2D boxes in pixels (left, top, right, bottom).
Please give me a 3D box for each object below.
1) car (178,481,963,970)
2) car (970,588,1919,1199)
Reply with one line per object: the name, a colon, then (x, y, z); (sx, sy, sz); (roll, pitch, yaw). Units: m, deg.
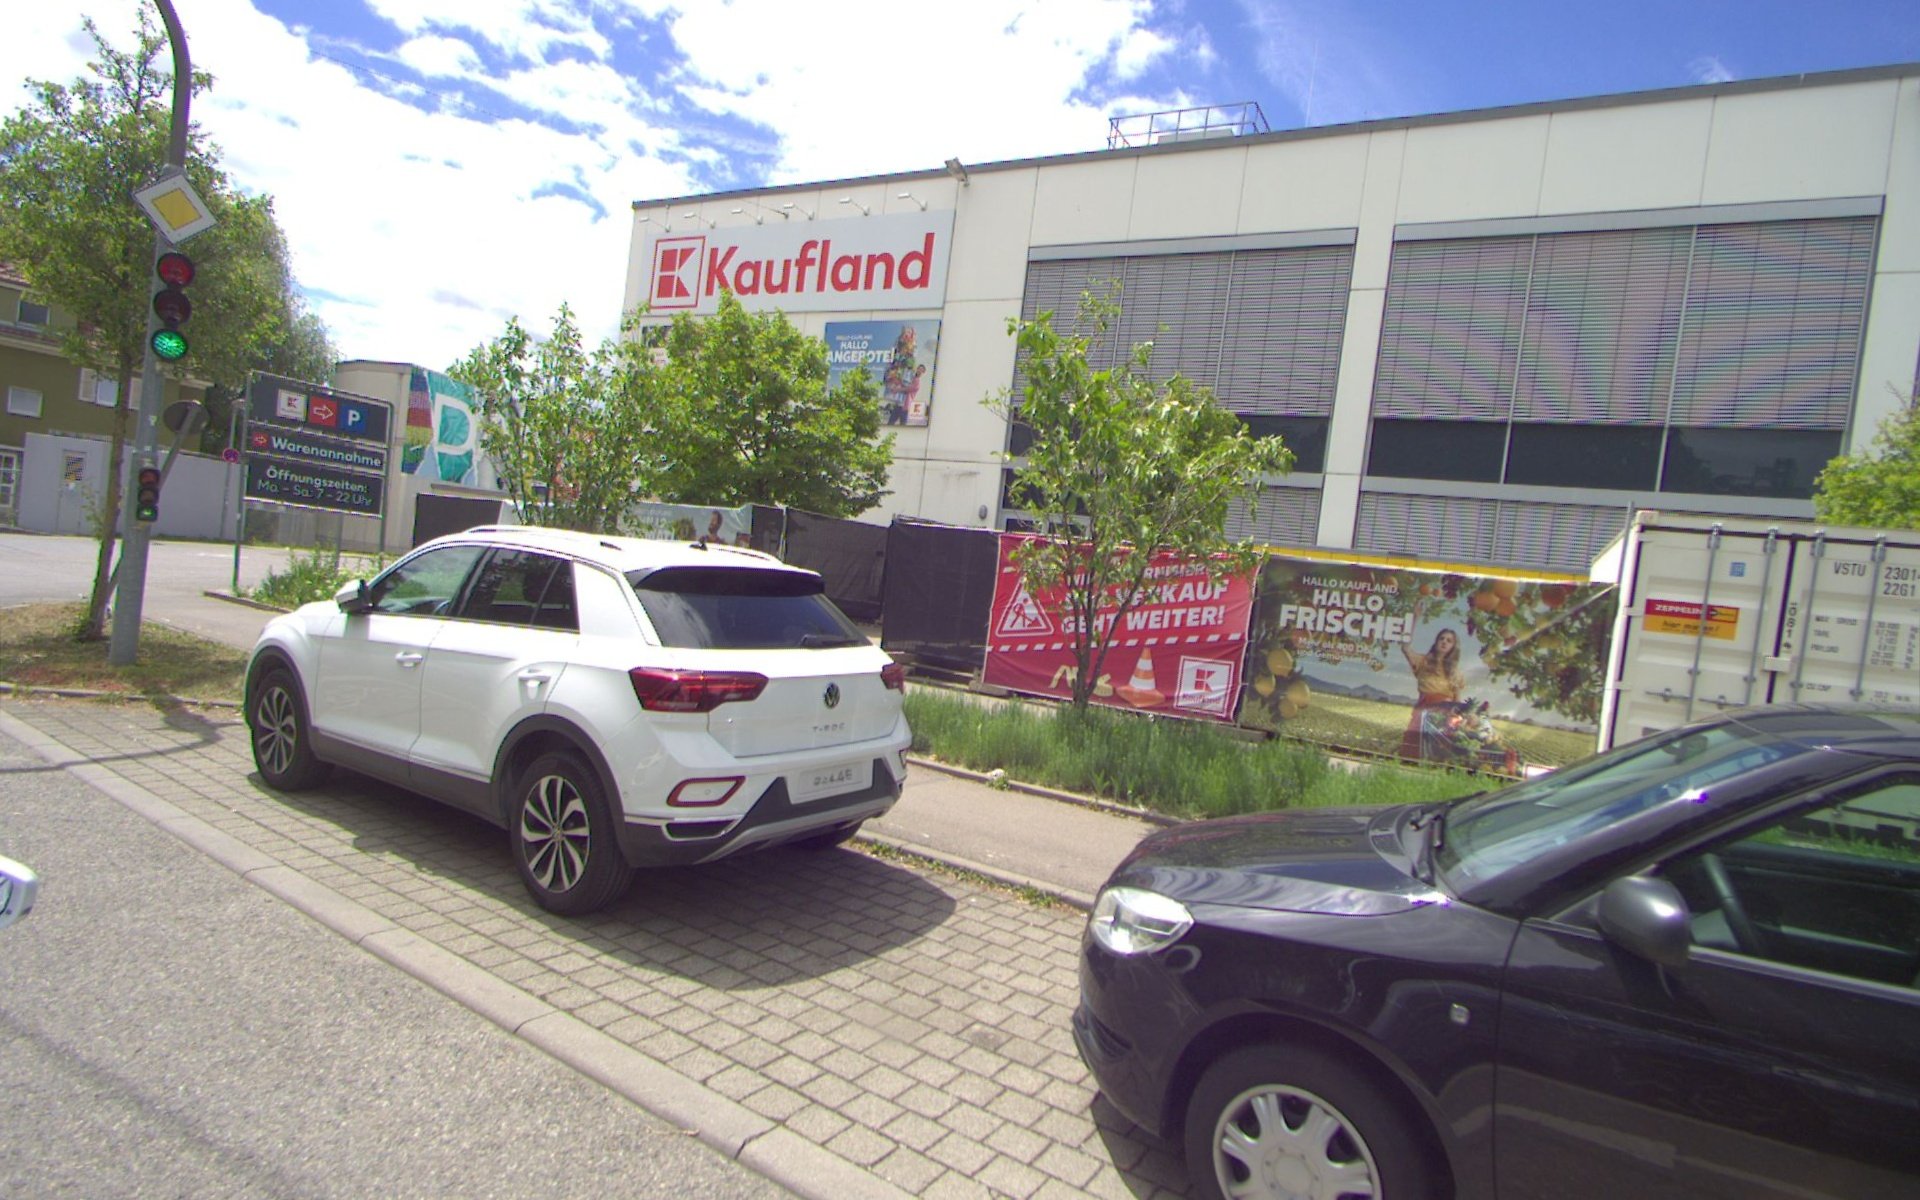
car: (-2.320, 0.342, 5.519); (4.314, 1.638, 1.736); (7, 3, 32)
car: (2.159, 0.945, 2.312); (3.934, 1.513, 1.568); (7, 2, 33)
